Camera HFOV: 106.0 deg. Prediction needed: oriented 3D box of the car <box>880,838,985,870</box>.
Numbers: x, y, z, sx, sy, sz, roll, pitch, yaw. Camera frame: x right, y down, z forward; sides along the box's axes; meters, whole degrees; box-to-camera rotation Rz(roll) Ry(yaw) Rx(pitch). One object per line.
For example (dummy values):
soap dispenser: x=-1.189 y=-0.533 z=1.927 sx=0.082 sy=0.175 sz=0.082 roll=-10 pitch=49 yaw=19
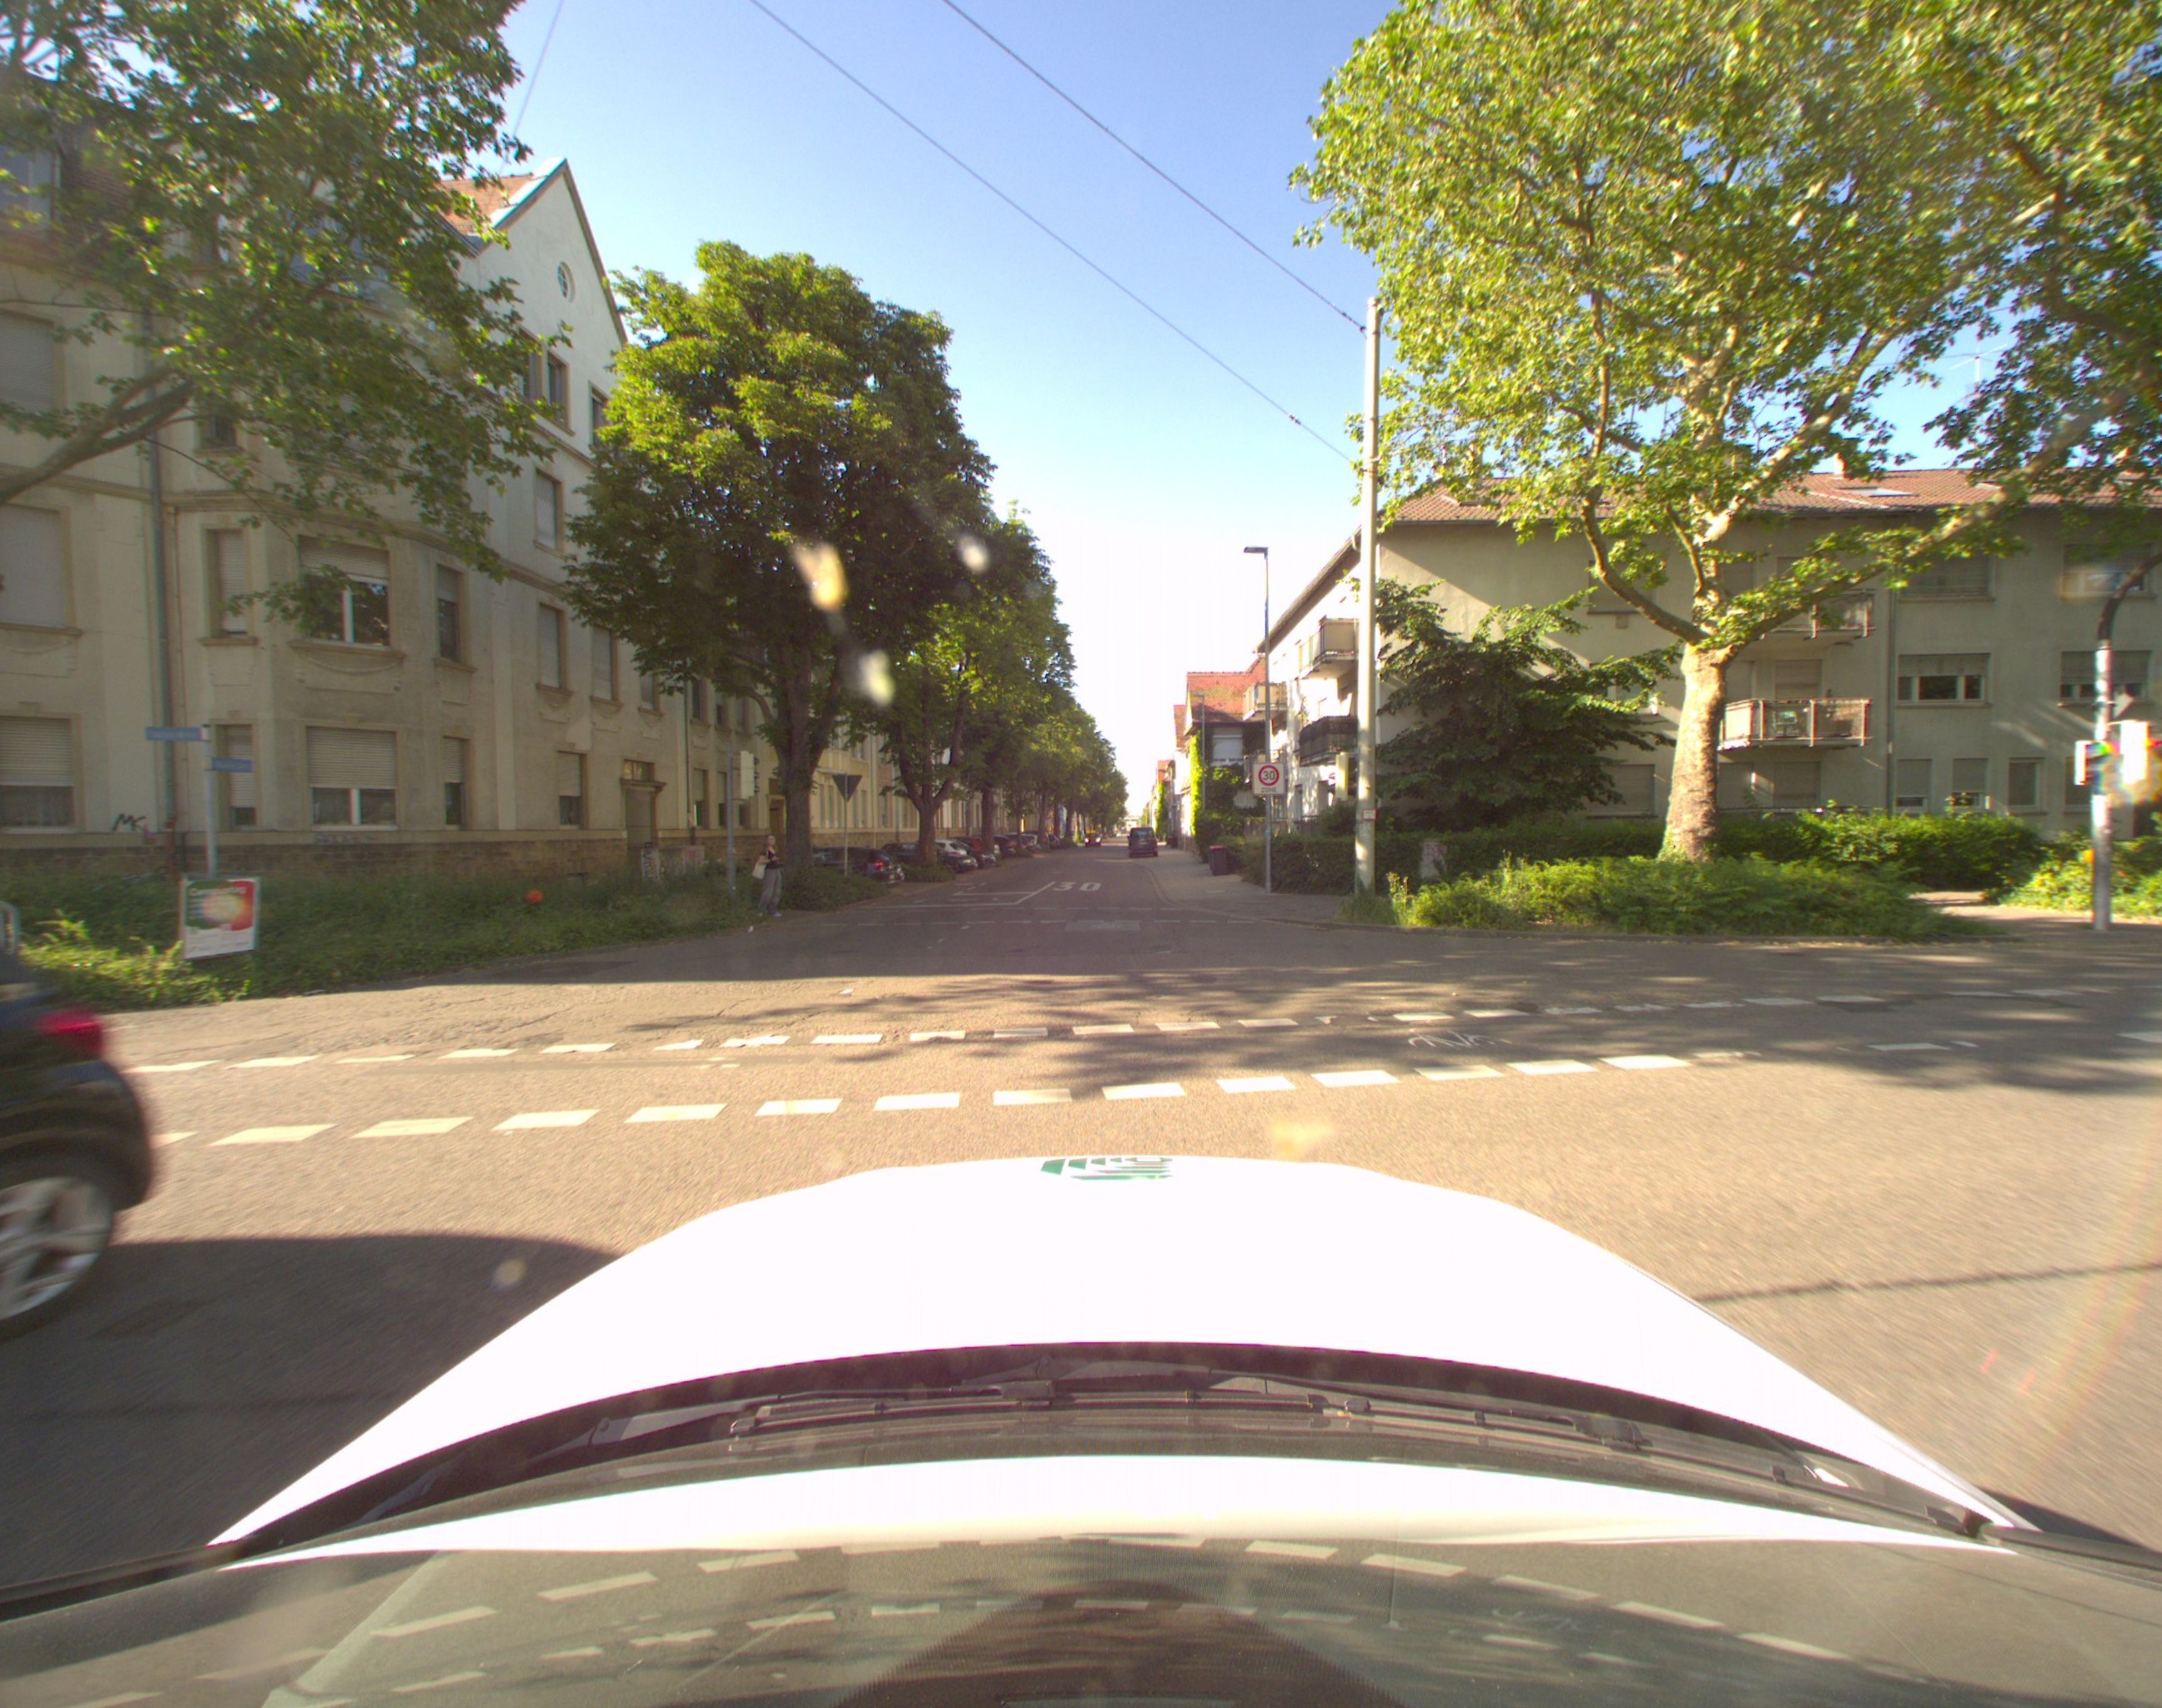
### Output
car: x=-6.439 y=-0.007 z=35.530 sx=4.194 sy=1.348 sz=1.705 roll=0 pitch=1 yaw=3

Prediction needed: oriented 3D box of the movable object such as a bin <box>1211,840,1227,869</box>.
movable object such as a bin: x=5.280 y=0.011 z=31.180 sx=0.481 sy=1.044 sz=0.657 roll=-4 pitch=1 yaw=1

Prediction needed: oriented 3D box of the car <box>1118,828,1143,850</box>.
car: x=4.034 y=-1.235 z=65.596 sx=1.781 sy=1.600 sz=4.006 roll=-3 pitch=2 yaw=5

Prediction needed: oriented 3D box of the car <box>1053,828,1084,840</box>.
car: x=-1.668 y=-2.678 z=108.708 sx=3.974 sy=1.464 sz=1.798 roll=1 pitch=1 yaw=0

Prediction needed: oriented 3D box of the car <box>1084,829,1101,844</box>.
car: x=1.250 y=-1.928 z=88.952 sx=1.634 sy=1.508 sz=3.706 roll=-2 pitch=2 yaw=3

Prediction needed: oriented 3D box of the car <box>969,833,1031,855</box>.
car: x=-5.531 y=-0.696 z=56.029 sx=3.970 sy=1.514 sz=1.749 roll=0 pitch=1 yaw=3

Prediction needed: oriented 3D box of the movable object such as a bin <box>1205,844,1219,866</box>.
movable object such as a bin: x=5.613 y=0.033 z=35.028 sx=0.501 sy=0.915 sz=0.574 roll=-4 pitch=1 yaw=6

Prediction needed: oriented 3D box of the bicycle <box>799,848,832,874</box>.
bicycle: x=-10.119 y=0.262 z=31.096 sx=0.469 sy=0.911 sz=1.602 roll=-1 pitch=2 yaw=11

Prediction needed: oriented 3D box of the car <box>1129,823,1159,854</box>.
car: x=4.157 y=-1.053 z=54.047 sx=1.856 sy=1.915 sz=4.789 roll=-1 pitch=2 yaw=4

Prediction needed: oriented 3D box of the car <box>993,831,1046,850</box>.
car: x=-4.909 y=-1.096 z=64.933 sx=3.880 sy=1.446 sz=1.864 roll=1 pitch=2 yaw=8

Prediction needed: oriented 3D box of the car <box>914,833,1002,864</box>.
car: x=-6.051 y=-0.271 z=40.219 sx=3.968 sy=1.482 sz=1.788 roll=0 pitch=2 yaw=5

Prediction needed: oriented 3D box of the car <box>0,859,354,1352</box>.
car: x=-4.197 y=0.826 z=1.725 sx=1.653 sy=1.464 sz=3.814 roll=-1 pitch=2 yaw=5

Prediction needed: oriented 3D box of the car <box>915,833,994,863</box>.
car: x=-7.023 y=-0.361 z=45.322 sx=3.968 sy=1.507 sz=1.725 roll=-2 pitch=1 yaw=5

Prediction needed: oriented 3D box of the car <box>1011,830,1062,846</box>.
car: x=-4.120 y=-1.515 z=76.183 sx=4.514 sy=1.503 sz=1.893 roll=0 pitch=2 yaw=2

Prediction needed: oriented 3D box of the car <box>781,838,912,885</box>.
car: x=-7.758 y=0.228 z=27.204 sx=3.873 sy=1.415 sz=1.614 roll=-1 pitch=2 yaw=-3

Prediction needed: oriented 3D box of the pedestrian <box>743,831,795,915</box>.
pedestrian: x=-6.415 y=0.384 z=16.772 sx=0.689 sy=1.681 sz=0.683 roll=-1 pitch=2 yaw=14

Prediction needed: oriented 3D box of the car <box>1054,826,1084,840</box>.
car: x=-1.580 y=-2.879 z=110.938 sx=3.974 sy=1.760 sz=1.798 roll=1 pitch=1 yaw=0

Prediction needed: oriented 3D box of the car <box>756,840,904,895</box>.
car: x=-7.475 y=0.392 z=24.474 sx=3.866 sy=1.475 sz=1.617 roll=-2 pitch=1 yaw=3

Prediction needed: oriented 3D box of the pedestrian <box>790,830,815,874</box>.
pedestrian: x=-10.603 y=-0.100 z=31.057 sx=0.457 sy=1.658 sz=0.898 roll=-1 pitch=1 yaw=12

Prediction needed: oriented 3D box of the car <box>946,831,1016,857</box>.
car: x=-6.074 y=-0.638 z=49.767 sx=3.968 sy=1.566 sz=1.866 roll=0 pitch=2 yaw=5

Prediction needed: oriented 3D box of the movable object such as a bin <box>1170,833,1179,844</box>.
movable object such as a bin: x=8.566 y=-1.414 z=74.597 sx=0.645 sy=1.039 sz=0.828 roll=-2 pitch=2 yaw=1

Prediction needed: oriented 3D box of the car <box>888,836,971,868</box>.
car: x=-7.007 y=-0.107 z=37.868 sx=3.416 sy=1.452 sz=1.706 roll=0 pitch=1 yaw=5

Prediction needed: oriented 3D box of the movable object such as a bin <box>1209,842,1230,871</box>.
movable object such as a bin: x=5.150 y=0.086 z=30.337 sx=0.595 sy=1.044 sz=0.707 roll=-4 pitch=1 yaw=1

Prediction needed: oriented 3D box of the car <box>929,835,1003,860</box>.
car: x=-6.712 y=-0.390 z=47.669 sx=3.968 sy=1.403 sz=1.833 roll=1 pitch=2 yaw=4

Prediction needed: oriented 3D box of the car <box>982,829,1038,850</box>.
car: x=-5.367 y=-1.110 z=61.644 sx=3.970 sy=1.592 sz=1.861 roll=0 pitch=2 yaw=3

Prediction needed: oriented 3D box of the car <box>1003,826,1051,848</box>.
car: x=-4.739 y=-1.492 z=71.401 sx=3.964 sy=1.855 sz=1.830 roll=0 pitch=1 yaw=2
